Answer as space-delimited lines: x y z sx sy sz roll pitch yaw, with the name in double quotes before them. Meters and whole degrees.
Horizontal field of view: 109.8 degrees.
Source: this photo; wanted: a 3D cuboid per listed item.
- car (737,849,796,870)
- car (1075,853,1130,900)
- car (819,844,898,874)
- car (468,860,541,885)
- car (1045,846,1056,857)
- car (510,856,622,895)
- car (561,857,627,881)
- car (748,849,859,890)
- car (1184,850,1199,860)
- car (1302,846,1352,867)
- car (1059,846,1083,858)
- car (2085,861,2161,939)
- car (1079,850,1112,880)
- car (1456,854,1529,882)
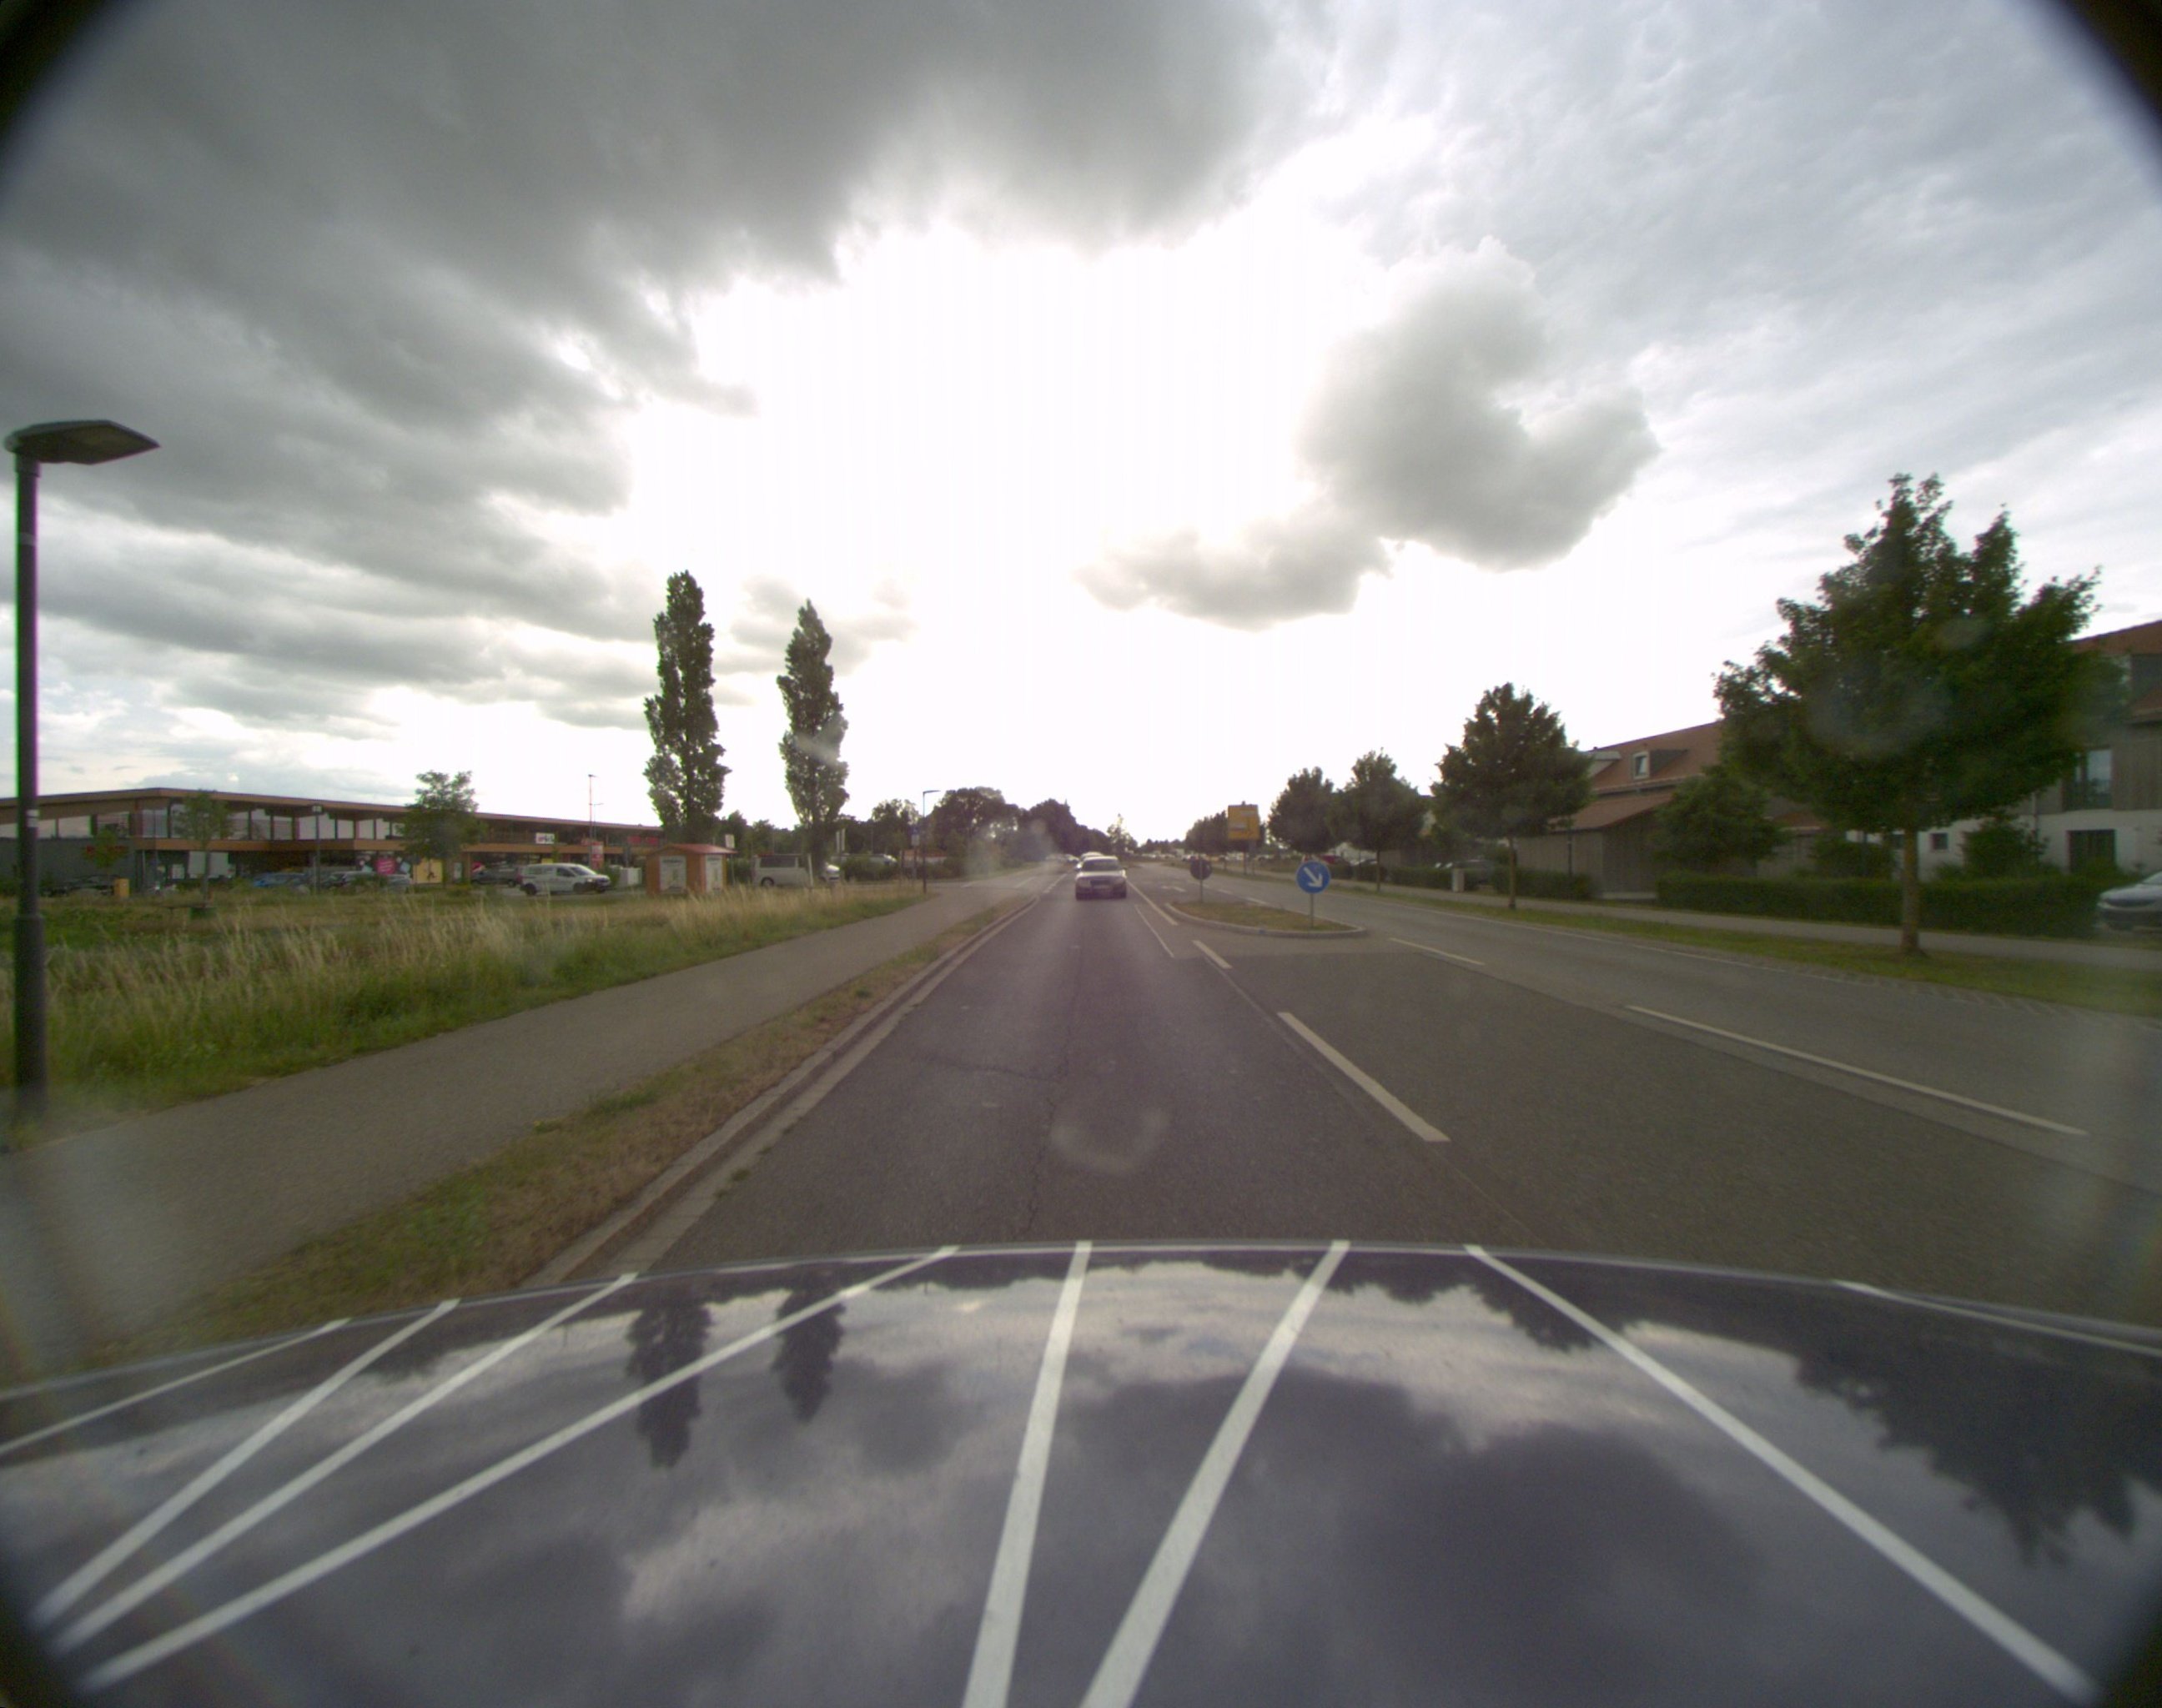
"car" -34.441 0.628 83.333 5.527 2.002 1.999 -3 1 -5
"car" 0.821 0.760 27.446 1.763 1.410 4.520 -3 1 3
"car" -17.255 0.392 59.183 5.527 2.002 1.999 -3 1 -5
"car" -52.946 1.694 69.858 4.857 2.002 1.998 -3 1 -7
"car" -5.977 -0.480 149.887 1.998 2.002 4.000 -1 0 1
"car" -30.208 1.243 44.629 5.311 2.002 2.001 -3 1 7
"car" -46.972 1.387 73.405 4.857 2.002 1.998 -3 1 -7
"car" -15.949 0.849 43.905 5.313 2.002 2.562 -3 1 2
"car" 21.029 0.199 144.628 1.999 1.773 3.998 -3 1 -3
"car" 25.333 0.242 78.353 4.568 2.002 2.000 -3 1 5
"car" -1.718 -0.323 129.355 1.795 2.002 4.455 -4 1 -33
"car" 23.012 0.866 15.390 3.592 1.431 1.301 -3 1 1
"car" 0.822 0.602 44.398 1.763 1.495 4.690 -3 1 1
"car" 24.411 0.835 45.128 3.592 1.431 1.301 -3 1 1
